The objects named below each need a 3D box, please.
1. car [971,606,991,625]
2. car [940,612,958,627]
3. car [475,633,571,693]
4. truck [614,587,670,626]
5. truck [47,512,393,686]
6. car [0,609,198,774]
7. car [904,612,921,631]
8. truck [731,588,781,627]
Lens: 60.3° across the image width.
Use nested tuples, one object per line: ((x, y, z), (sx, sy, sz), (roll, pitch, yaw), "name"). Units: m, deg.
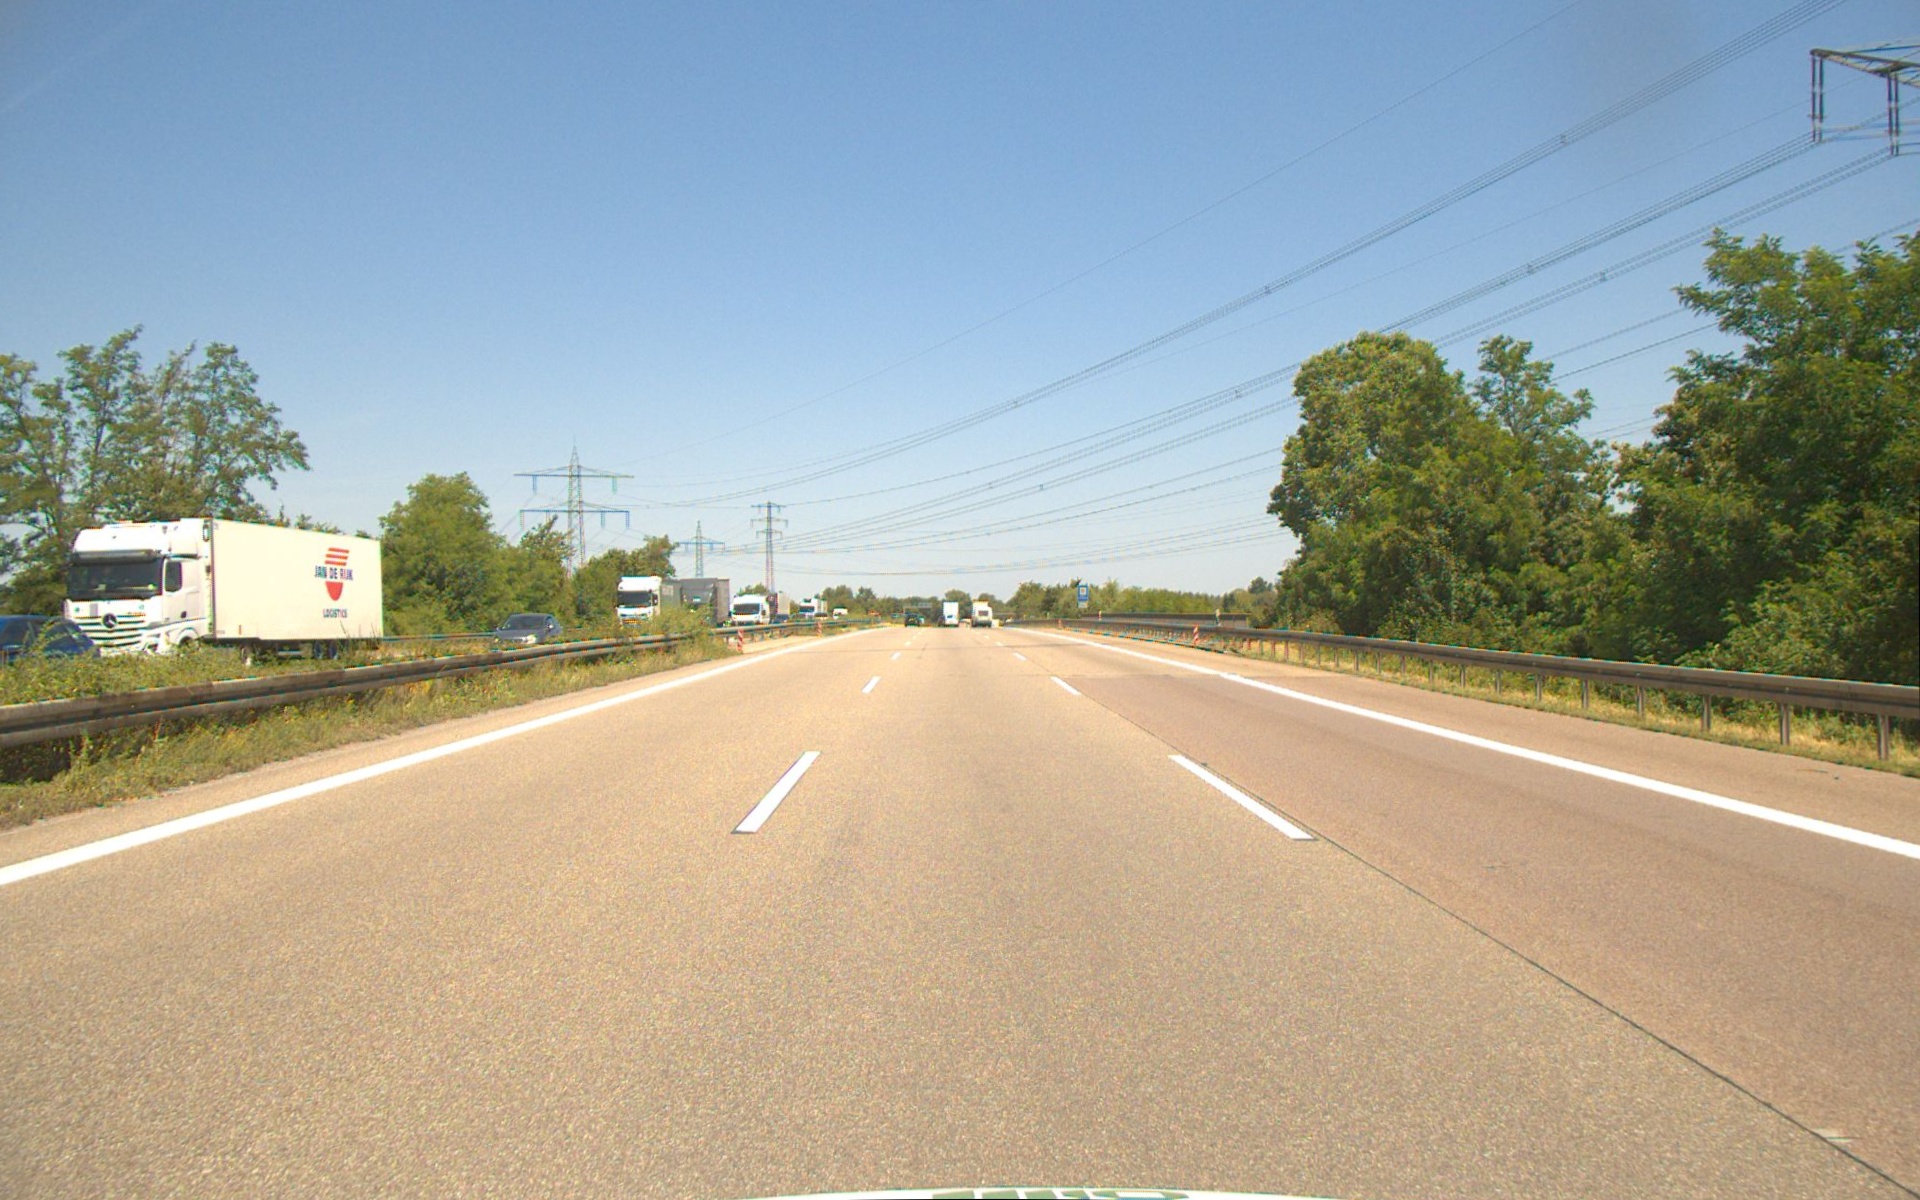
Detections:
((2.210, 1.641, 177.280), (1.953, 2.049, 3.999), (-1, 0, -1), "car")
((-1.425, 2.541, 217.954), (2.132, 1.963, 4.613), (-1, 0, 3), "car")
((-13.435, 1.912, 51.114), (1.953, 1.680, 3.999), (-1, 0, -1), "car")
((-22.032, 0.441, 115.067), (2.451, 2.507, 12.280), (-1, 0, -5), "truck")
((-20.846, -0.014, 48.593), (2.901, 4.162, 17.023), (-1, 0, -1), "truck")
((-12.793, 1.178, 23.235), (1.952, 2.049, 4.699), (-1, 0, 0), "car")
((-5.384, 2.394, 187.541), (1.755, 2.049, 3.887), (1, 0, 0), "car")
((-13.784, 0.507, 112.602), (2.450, 2.507, 12.285), (-1, 0, -3), "truck")
